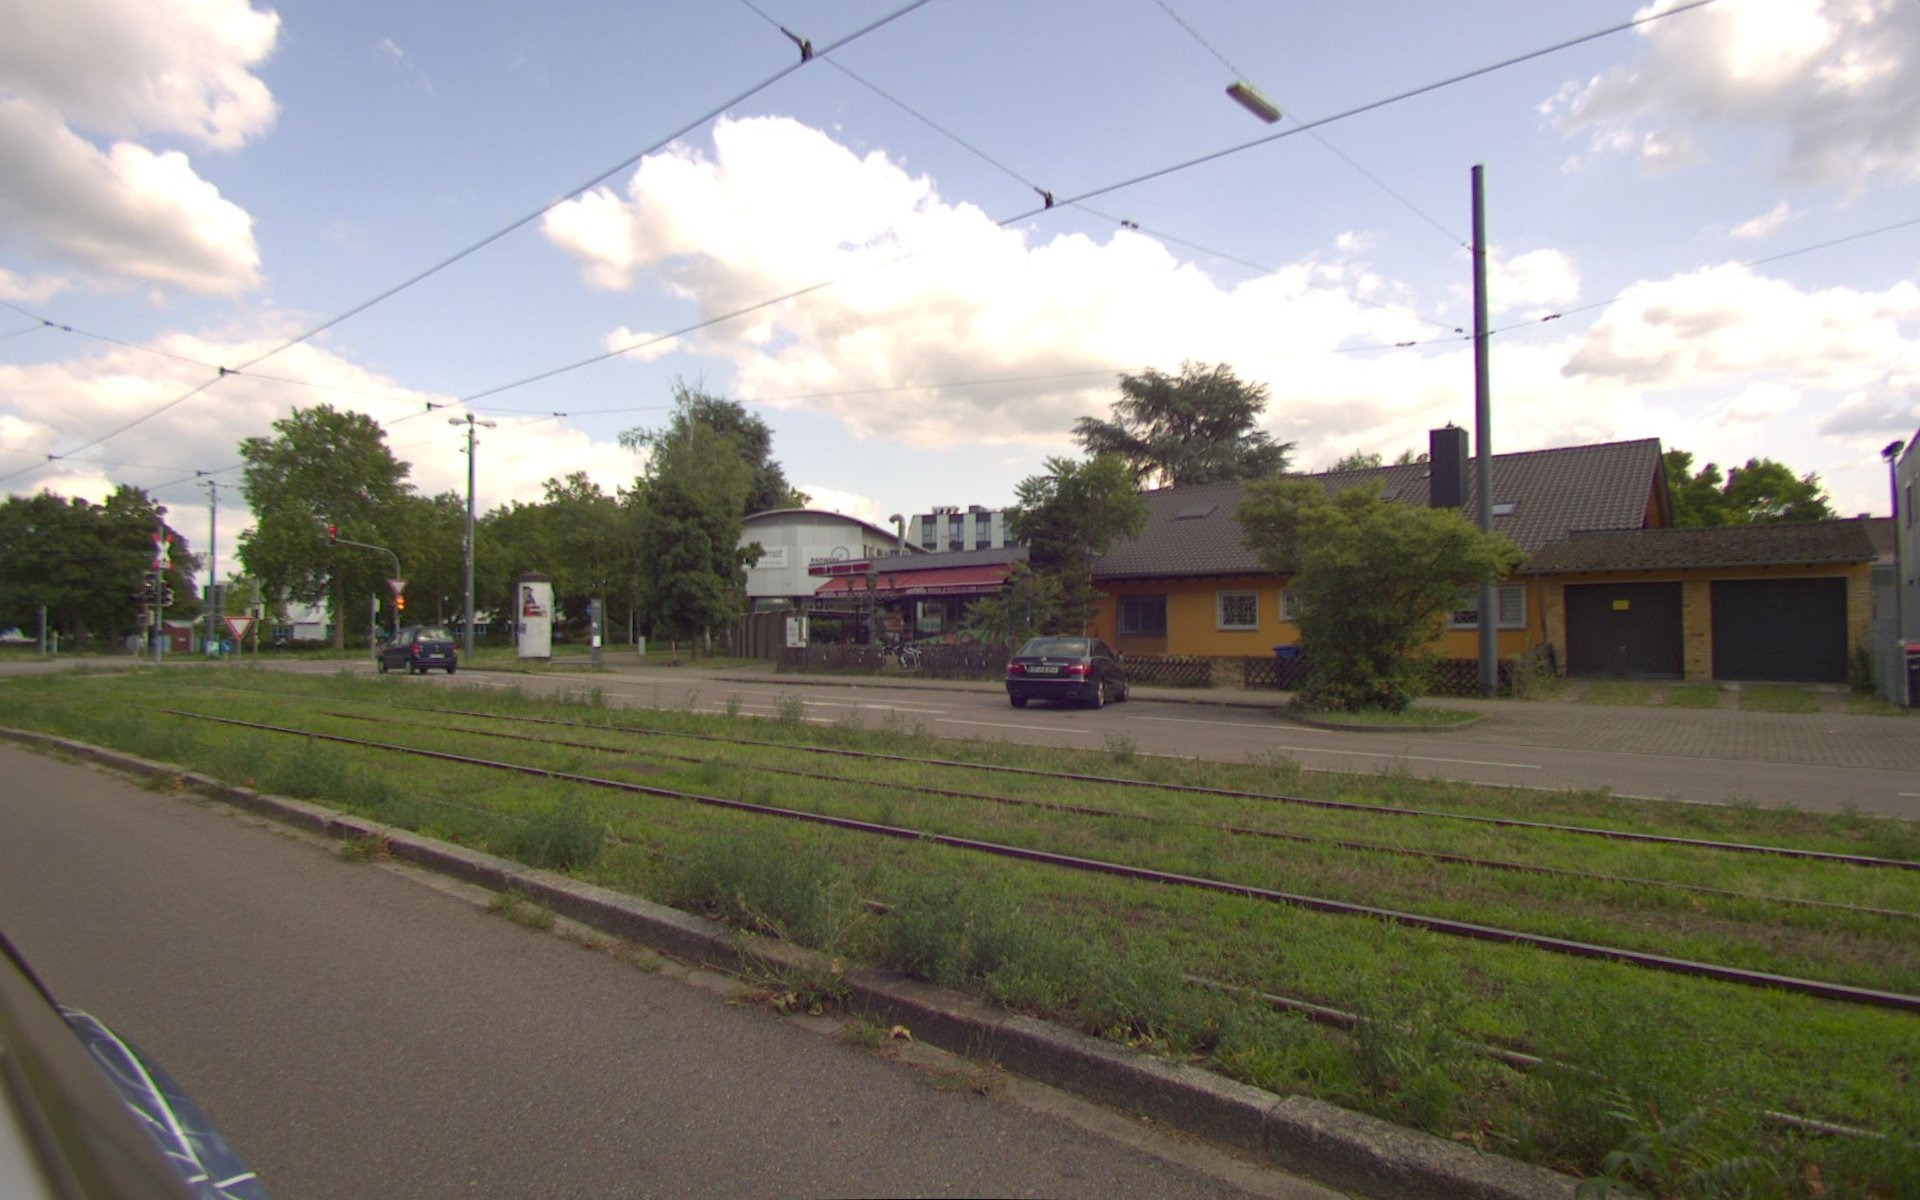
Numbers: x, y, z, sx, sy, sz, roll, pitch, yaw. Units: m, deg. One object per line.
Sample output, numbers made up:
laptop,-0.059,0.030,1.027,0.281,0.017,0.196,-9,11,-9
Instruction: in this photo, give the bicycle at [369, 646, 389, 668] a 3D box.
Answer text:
bicycle,-30.052,2.938,52.318,0.791,1.068,2.075,-1,-3,-32

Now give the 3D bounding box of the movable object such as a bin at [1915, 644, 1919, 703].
movable object such as a bin,17.679,1.332,18.337,0.479,1.050,0.488,-3,-2,40

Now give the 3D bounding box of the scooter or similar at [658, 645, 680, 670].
scooter or similar,-12.194,2.405,42.336,0.421,1.041,1.225,1,-3,-40

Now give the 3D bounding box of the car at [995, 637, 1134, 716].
car,2.324,1.514,21.218,1.869,1.418,4.620,0,-2,19

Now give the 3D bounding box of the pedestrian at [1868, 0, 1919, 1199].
pedestrian,1.197,0.401,0.454,0.836,1.699,0.808,0,-1,-16

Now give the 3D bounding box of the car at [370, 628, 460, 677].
car,-19.443,1.833,36.041,3.495,1.639,1.759,-2,-2,42

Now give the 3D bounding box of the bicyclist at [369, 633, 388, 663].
bicyclist,-30.020,2.489,52.257,0.791,1.481,0.834,-1,-3,-32

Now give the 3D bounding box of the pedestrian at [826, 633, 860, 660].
pedestrian,-5.027,1.996,43.537,0.931,1.155,1.141,-2,-3,41

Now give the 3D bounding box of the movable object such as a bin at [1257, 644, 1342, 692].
movable object such as a bin,8.154,1.611,24.319,1.616,1.109,1.242,-2,-3,39

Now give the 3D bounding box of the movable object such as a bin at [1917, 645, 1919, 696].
movable object such as a bin,17.325,1.336,17.911,0.481,1.050,0.499,-3,-2,40
